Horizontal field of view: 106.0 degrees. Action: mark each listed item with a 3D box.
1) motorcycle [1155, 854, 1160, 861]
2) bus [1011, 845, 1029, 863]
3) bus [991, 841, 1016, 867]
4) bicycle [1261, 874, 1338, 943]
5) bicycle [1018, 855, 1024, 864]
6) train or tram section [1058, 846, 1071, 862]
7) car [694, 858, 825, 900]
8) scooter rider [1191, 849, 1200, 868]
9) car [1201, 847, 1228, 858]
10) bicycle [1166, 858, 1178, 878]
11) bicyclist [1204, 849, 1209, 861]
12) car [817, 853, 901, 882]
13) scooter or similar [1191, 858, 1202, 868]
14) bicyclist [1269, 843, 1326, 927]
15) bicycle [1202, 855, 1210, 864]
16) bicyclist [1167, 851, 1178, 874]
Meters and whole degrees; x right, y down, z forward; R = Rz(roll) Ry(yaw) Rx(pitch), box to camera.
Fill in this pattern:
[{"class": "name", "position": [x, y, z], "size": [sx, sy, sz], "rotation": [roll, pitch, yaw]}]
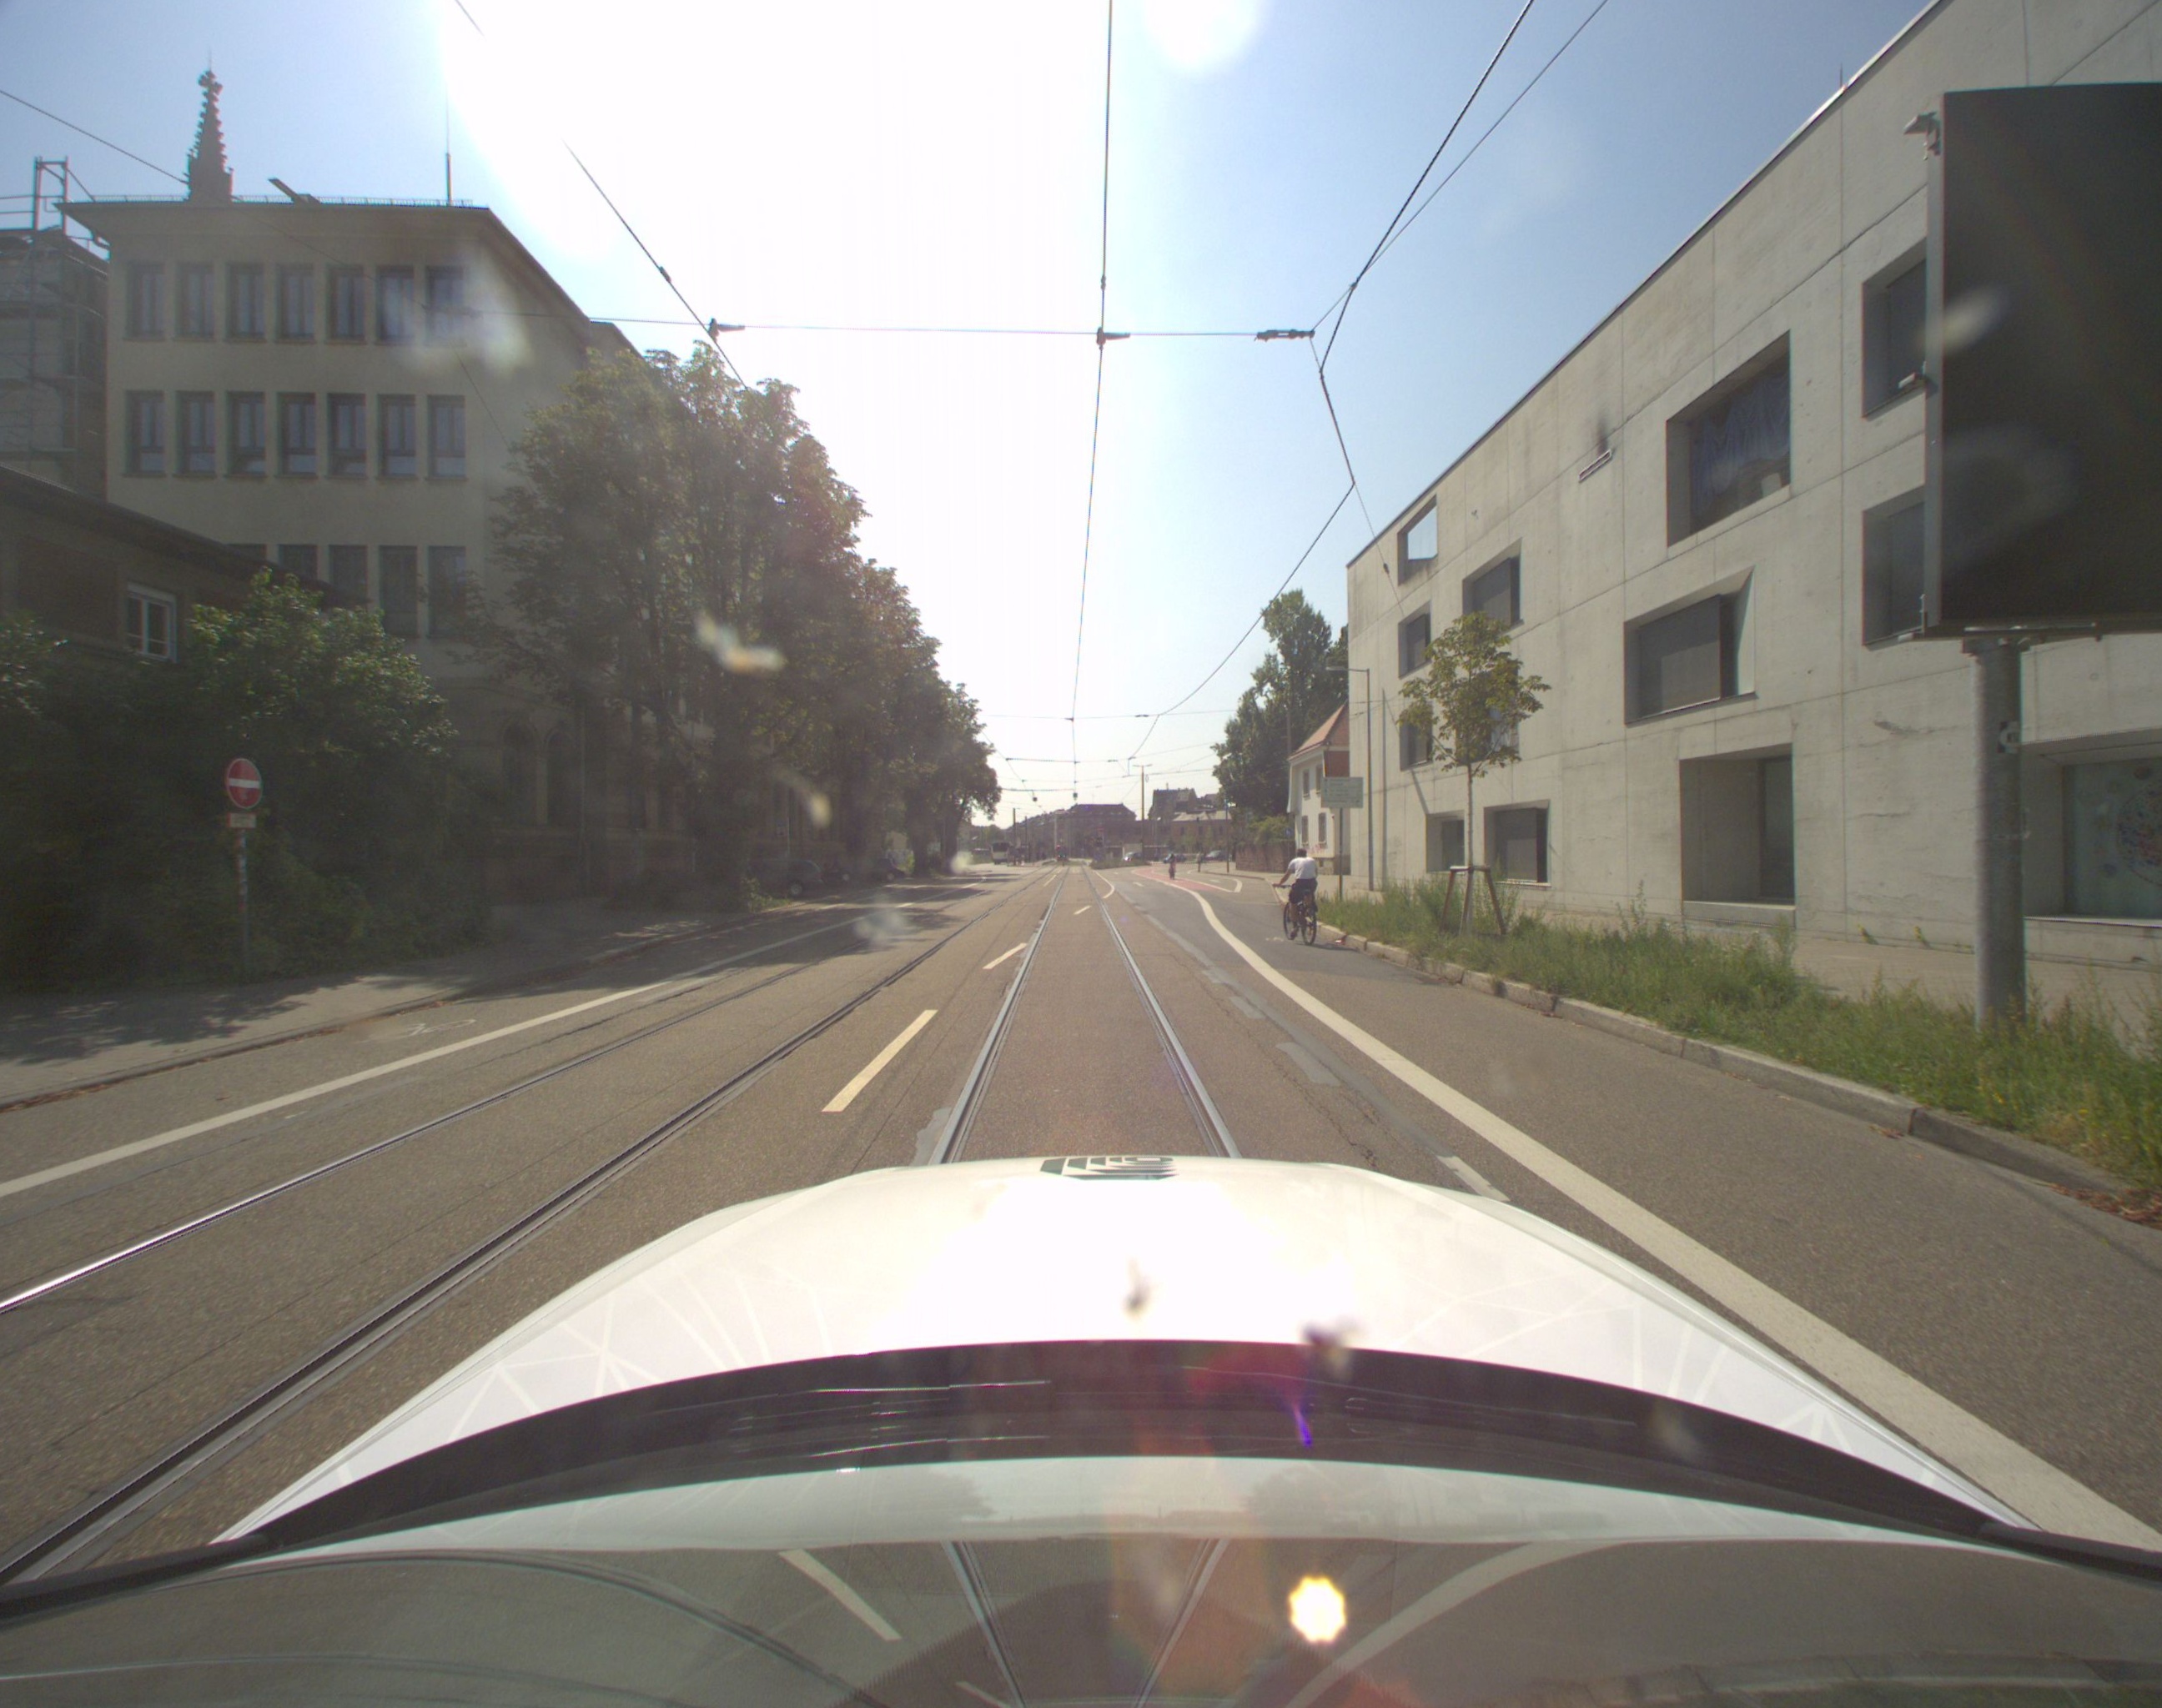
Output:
[{"class": "motorcycle", "position": [12.478, 0.582, 132.946], "size": [0.600, 1.210, 2.260], "rotation": [-1, 0, 11]}, {"class": "bus", "position": [-12.413, 0.016, 167.726], "size": [2.700, 3.727, 10.420], "rotation": [0, 0, 1]}, {"class": "bus", "position": [-11.549, -0.034, 122.298], "size": [2.949, 3.775, 10.591], "rotation": [0, 0, -1]}, {"class": "bicycle", "position": [3.747, 0.899, 14.145], "size": [0.737, 1.049, 2.232], "rotation": [0, 0, 0]}, {"class": "bicycle", "position": [-7.993, 0.728, 108.989], "size": [0.605, 1.222, 1.707], "rotation": [-1, 0, 4]}, {"class": "train or tram section", "position": [-3.774, -0.051, 188.585], "size": [2.848, 3.548, 17.735], "rotation": [0, 0, -1]}, {"class": "car", "position": [-12.063, 0.880, 30.627], "size": [4.439, 1.462, 1.805], "rotation": [0, 0, -28]}, {"class": "scooter rider", "position": [10.795, 0.400, 76.540], "size": [0.756, 1.775, 0.557], "rotation": [-1, 0, 17]}, {"class": "car", "position": [20.159, -0.170, 122.746], "size": [1.755, 1.610, 4.702], "rotation": [-1, 0, 43]}, {"class": "bicycle", "position": [5.530, 0.844, 49.360], "size": [0.601, 1.163, 1.812], "rotation": [-1, 0, 2]}, {"class": "bicyclist", "position": [15.888, 0.120, 103.025], "size": [0.445, 1.421, 0.499], "rotation": [-1, 0, 36]}, {"class": "car", "position": [-12.427, 0.706, 45.658], "size": [4.183, 1.496, 1.800], "rotation": [-1, 0, -38]}, {"class": "scooter or similar", "position": [10.793, 0.832, 76.216], "size": [0.766, 0.926, 1.627], "rotation": [0, 0, 17]}, {"class": "bicyclist", "position": [3.762, 0.524, 14.216], "size": [0.742, 1.411, 0.961], "rotation": [0, 0, 0]}, {"class": "bicycle", "position": [15.777, 0.676, 102.852], "size": [0.440, 1.116, 1.455], "rotation": [0, 1, 36]}, {"class": "bicyclist", "position": [5.522, 0.504, 49.390], "size": [0.600, 1.335, 0.660], "rotation": [-1, 0, 1]}]
